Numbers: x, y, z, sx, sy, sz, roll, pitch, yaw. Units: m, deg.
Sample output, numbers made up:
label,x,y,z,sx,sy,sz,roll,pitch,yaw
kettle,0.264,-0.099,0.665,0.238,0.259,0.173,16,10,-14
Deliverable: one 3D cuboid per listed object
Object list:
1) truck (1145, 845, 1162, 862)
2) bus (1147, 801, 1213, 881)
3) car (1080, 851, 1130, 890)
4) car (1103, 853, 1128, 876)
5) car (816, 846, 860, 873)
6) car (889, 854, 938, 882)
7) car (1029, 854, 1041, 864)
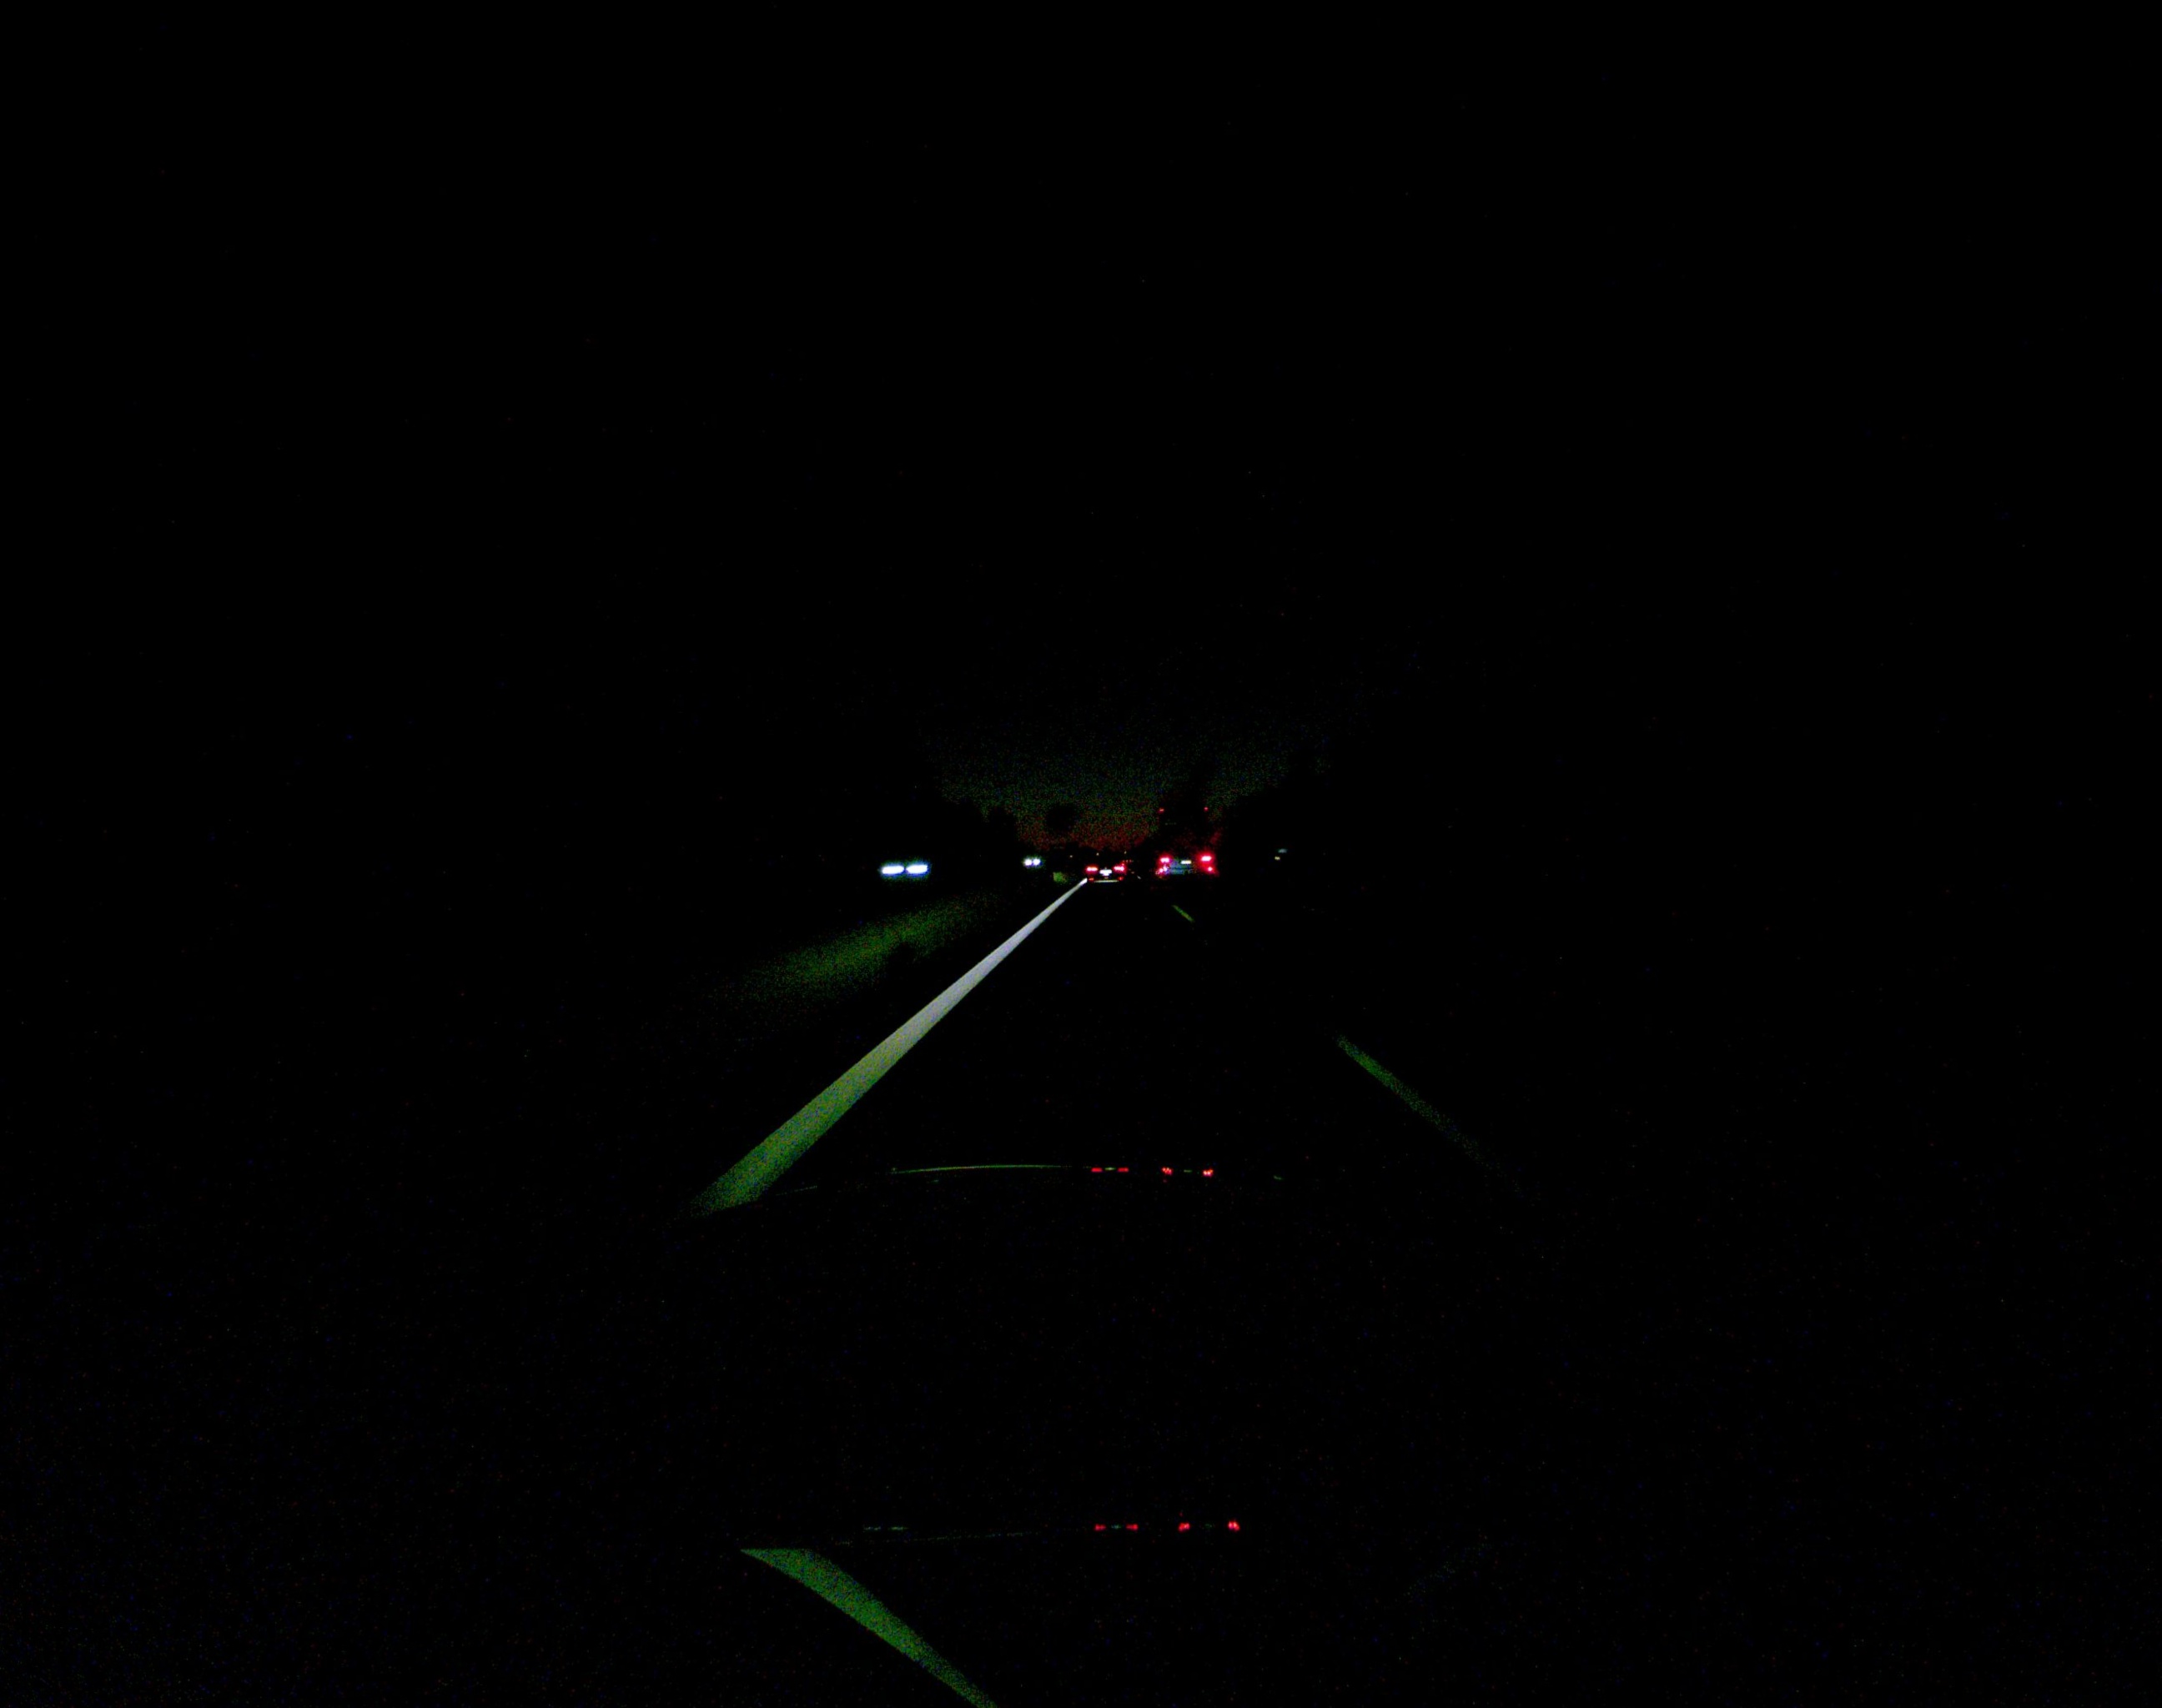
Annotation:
label,x,y,z,sx,sy,sz,roll,pitch,yaw
truck,13.009,-0.029,146.245,2.593,2.875,7.488,-1,-1,2
bus,5.664,-0.567,49.160,2.642,3.994,14.708,-2,-1,2
car,1.077,0.747,37.689,2.099,1.618,4.204,-2,-1,0
car,2.762,0.841,65.899,1.905,1.730,4.000,-3,-1,1
car,-18.621,0.419,62.621,1.987,1.926,4.000,-3,-1,1
car,-9.836,0.772,48.148,1.926,1.561,4.454,0,0,1
car,-8.701,0.995,154.031,1.986,1.776,5.171,0,0,1
